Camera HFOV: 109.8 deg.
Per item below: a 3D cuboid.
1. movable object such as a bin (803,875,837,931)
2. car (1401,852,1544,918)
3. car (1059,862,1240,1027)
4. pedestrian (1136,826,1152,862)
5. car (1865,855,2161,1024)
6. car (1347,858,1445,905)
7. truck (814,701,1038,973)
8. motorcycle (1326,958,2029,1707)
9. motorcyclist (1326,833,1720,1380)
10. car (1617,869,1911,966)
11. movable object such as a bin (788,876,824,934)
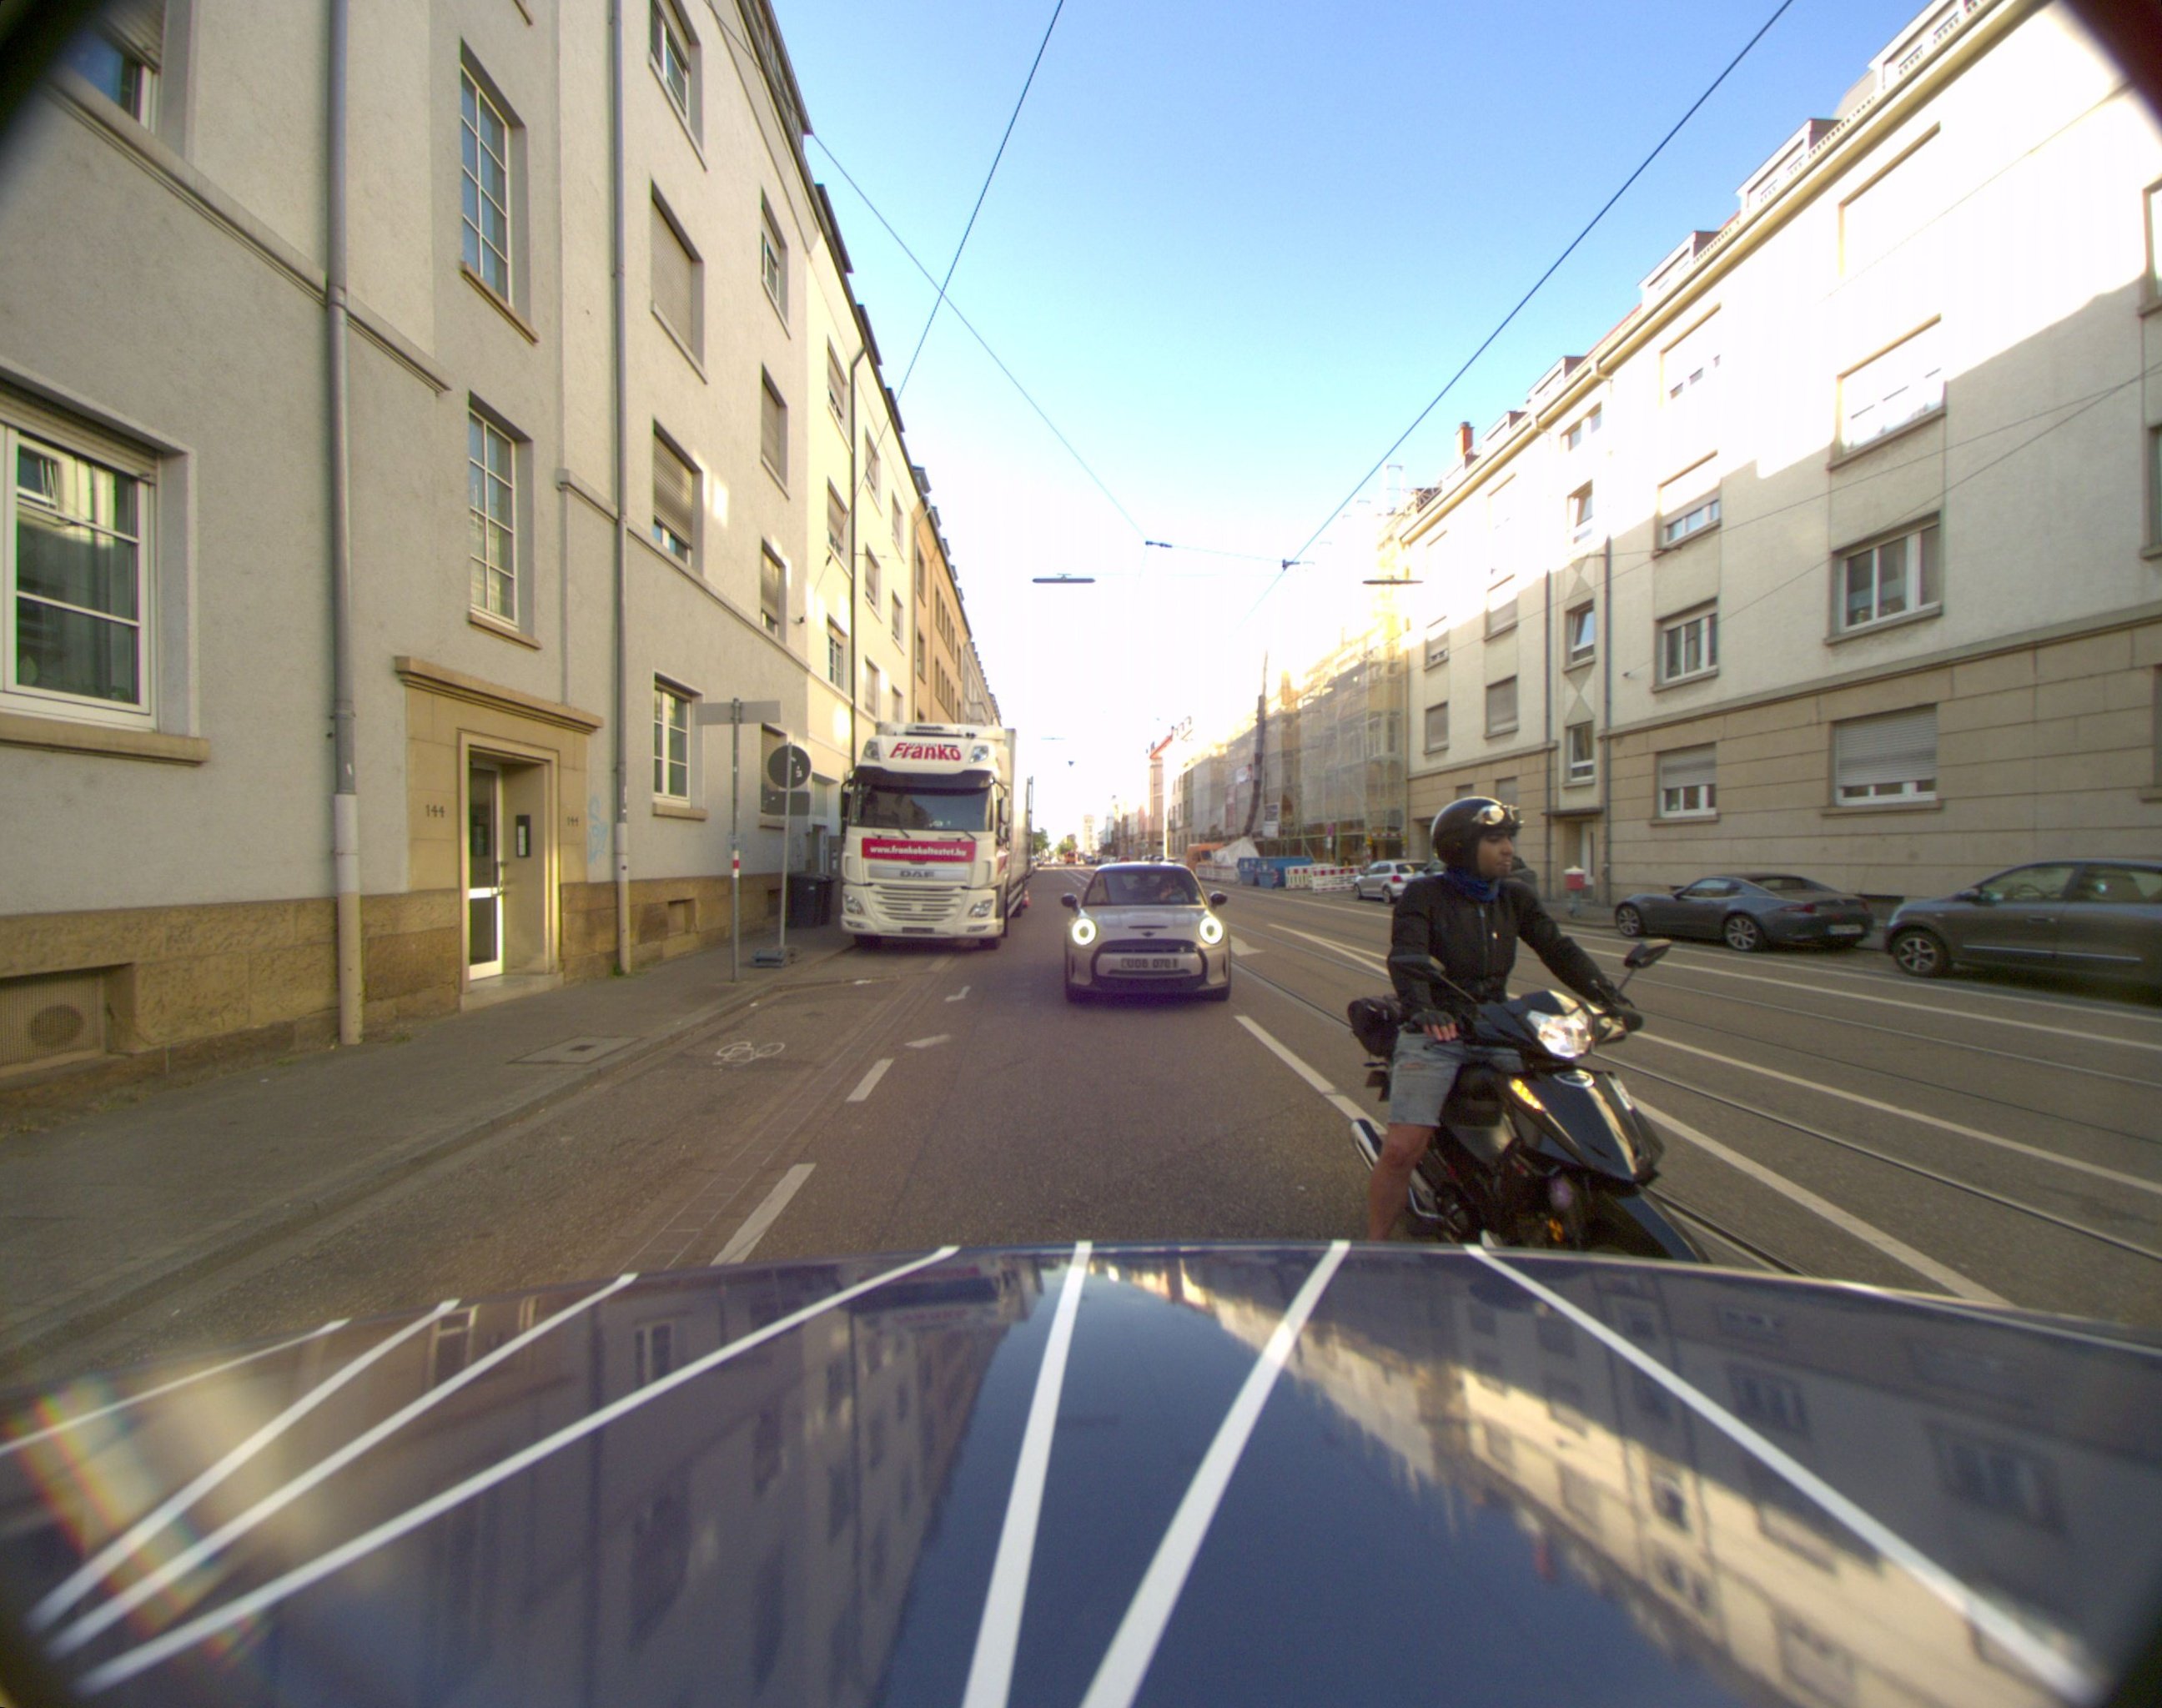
[{"bbox_3d":[-5.344,1.001,15.588,0.512,1.085,0.495,-2,1,-4],"label":"movable object such as a bin"},{"bbox_3d":[10.803,0.773,21.327,1.712,1.582,4.112,-2,1,-3],"label":"car"},{"bbox_3d":[0.637,0.867,9.103,1.692,1.495,4.000,0,0,0],"label":"car"},{"bbox_3d":[7.833,-1.289,94.368,1.723,4.377,1.153,-2,1,2],"label":"pedestrian"},{"bbox_3d":[11.366,0.843,8.422,1.670,1.563,3.496,-2,1,-2],"label":"car"},{"bbox_3d":[10.633,0.871,25.947,1.637,1.383,3.643,-2,1,-3],"label":"car"},{"bbox_3d":[-2.631,-0.249,17.172,2.899,3.939,11.704,-2,0,-2],"label":"truck"},{"bbox_3d":[1.325,1.069,2.262,0.538,1.212,1.981,-2,1,1],"label":"motorcycle"},{"bbox_3d":[1.322,0.703,2.401,0.862,1.496,0.598,-2,1,1],"label":"motorcyclist"},{"bbox_3d":[11.295,0.964,12.922,1.751,1.269,3.488,-2,1,-4],"label":"car"},{"bbox_3d":[-5.415,0.999,14.977,0.512,1.085,0.495,-2,1,-4],"label":"movable object such as a bin"}]
